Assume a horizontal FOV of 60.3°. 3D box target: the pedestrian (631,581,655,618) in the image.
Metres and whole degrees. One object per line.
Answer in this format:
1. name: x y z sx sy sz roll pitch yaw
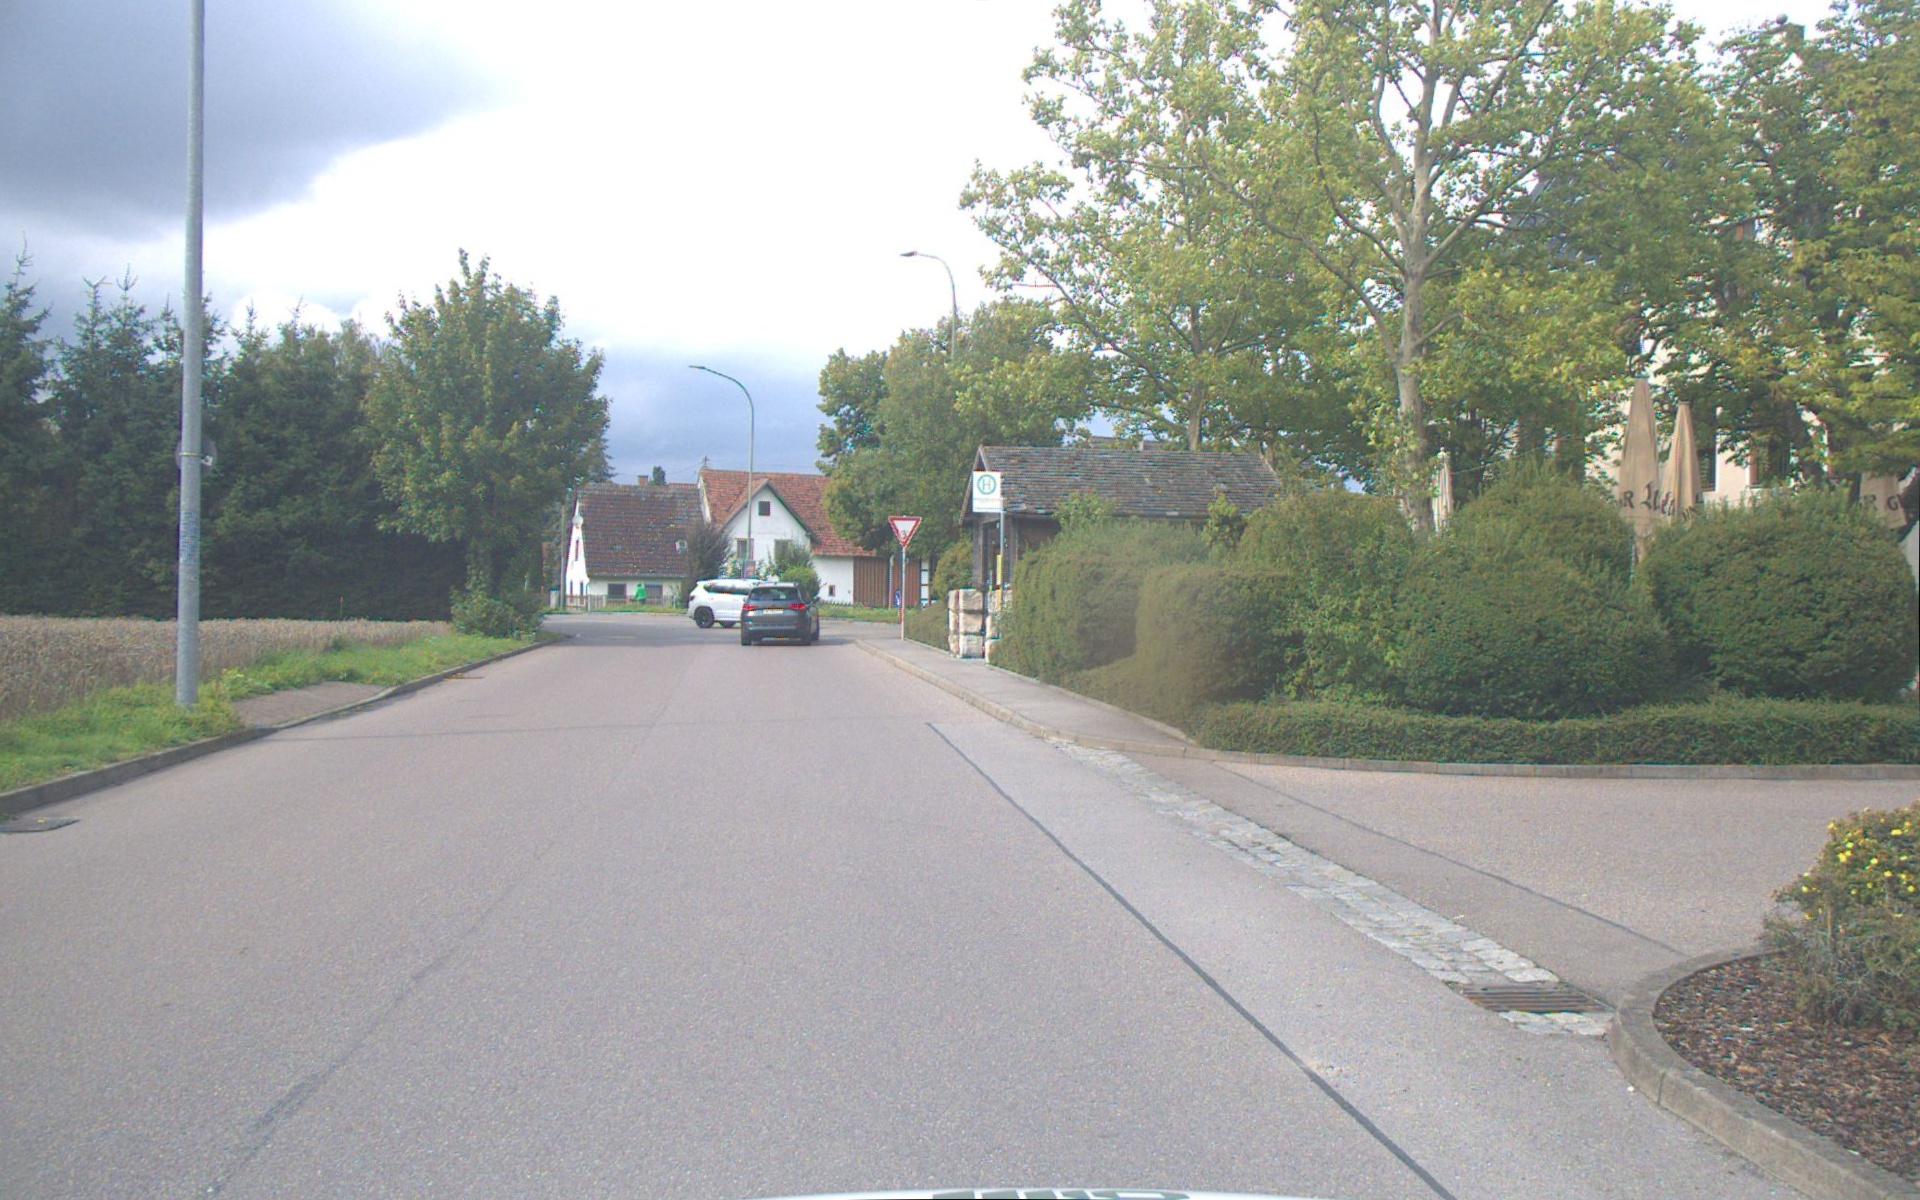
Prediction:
1. pedestrian: -15.111 -0.021 78.776 0.784 1.694 0.702 6 -3 -40

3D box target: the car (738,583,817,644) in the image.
1. car: -4.681 0.322 42.820 1.762 1.488 3.660 0 1 -3

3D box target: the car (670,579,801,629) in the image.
1. car: -7.419 0.105 54.648 3.895 1.542 1.804 1 0 21

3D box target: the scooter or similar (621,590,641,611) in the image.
1. scooter or similar: -15.755 0.034 79.198 0.627 0.964 0.613 6 -3 -40
